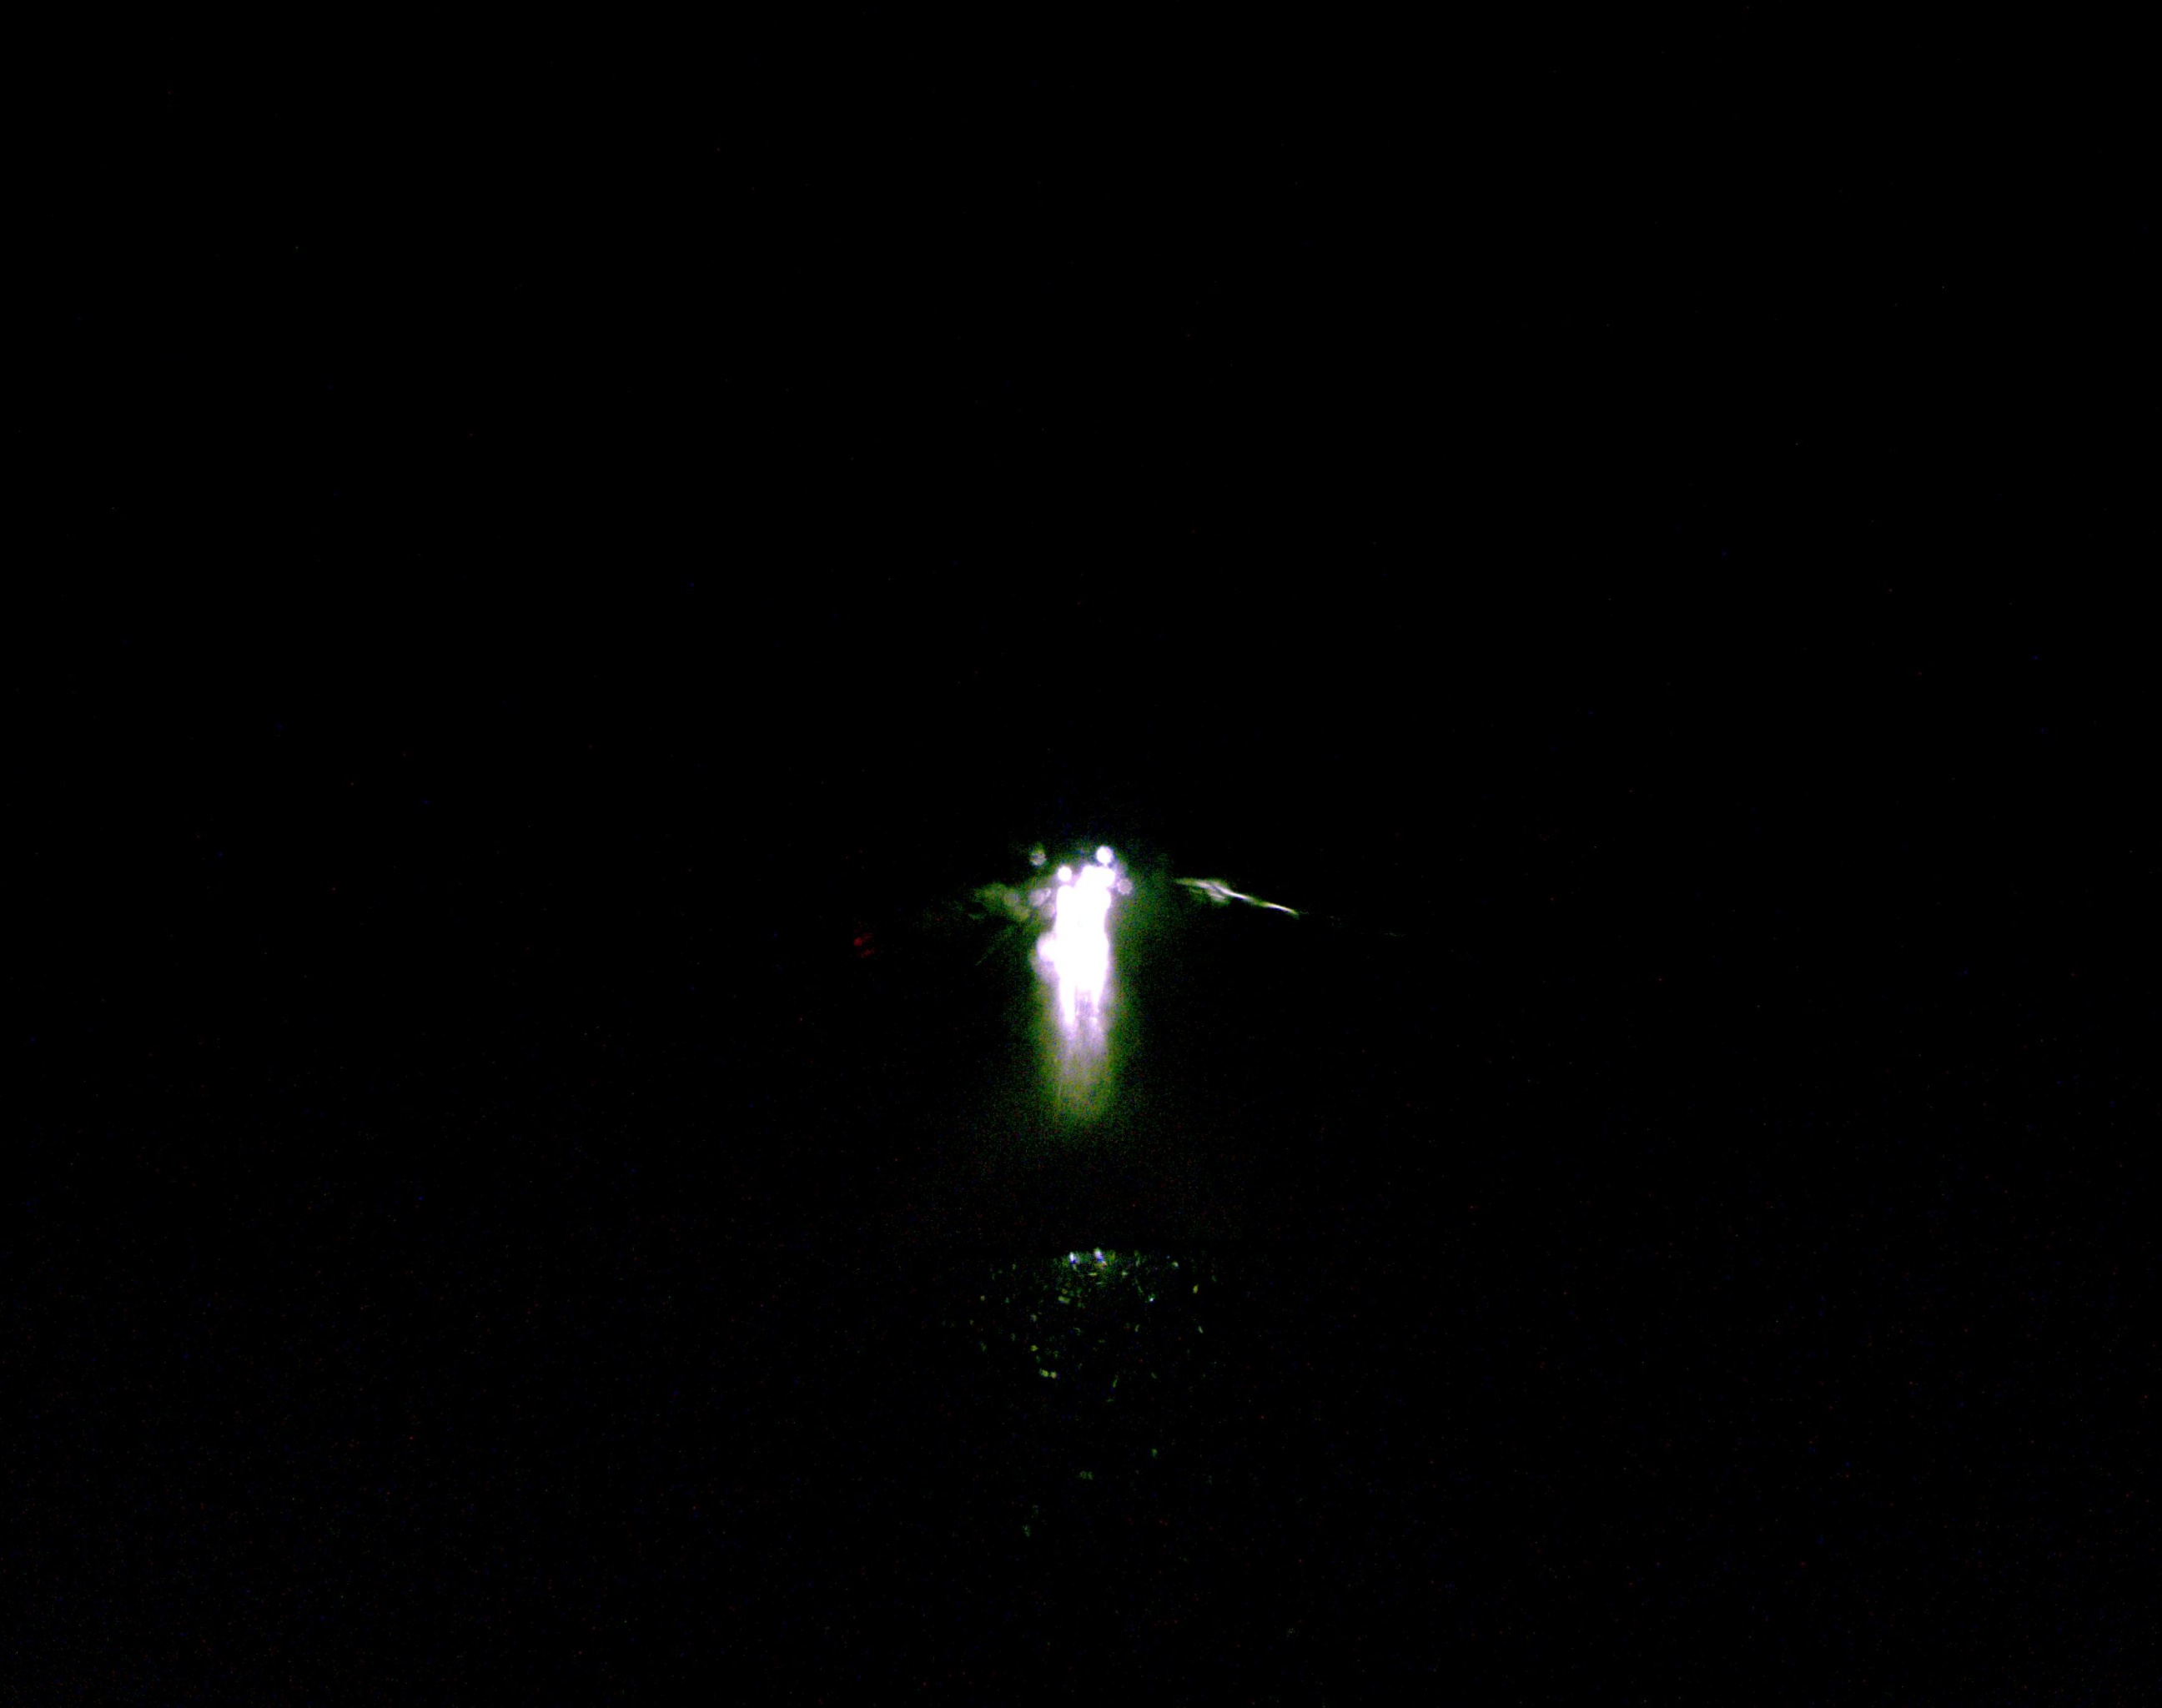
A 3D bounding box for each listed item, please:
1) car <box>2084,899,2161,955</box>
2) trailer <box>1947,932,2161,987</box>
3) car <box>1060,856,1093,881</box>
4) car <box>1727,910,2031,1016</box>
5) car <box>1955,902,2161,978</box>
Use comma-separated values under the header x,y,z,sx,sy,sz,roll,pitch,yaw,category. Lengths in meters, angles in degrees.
x,y,z,sx,sy,sz,roll,pitch,yaw,category
37.493,2.480,25.665,1.978,1.819,3.993,1,-3,-24,car
24.629,2.578,19.072,1.773,1.071,3.377,0,-3,-8,trailer
-0.325,0.900,49.188,1.999,1.412,3.999,-3,1,-2,car
16.712,2.163,16.184,1.978,1.819,3.993,1,-3,-25,car
27.740,2.284,21.160,1.976,1.819,3.999,0,-2,-8,car
